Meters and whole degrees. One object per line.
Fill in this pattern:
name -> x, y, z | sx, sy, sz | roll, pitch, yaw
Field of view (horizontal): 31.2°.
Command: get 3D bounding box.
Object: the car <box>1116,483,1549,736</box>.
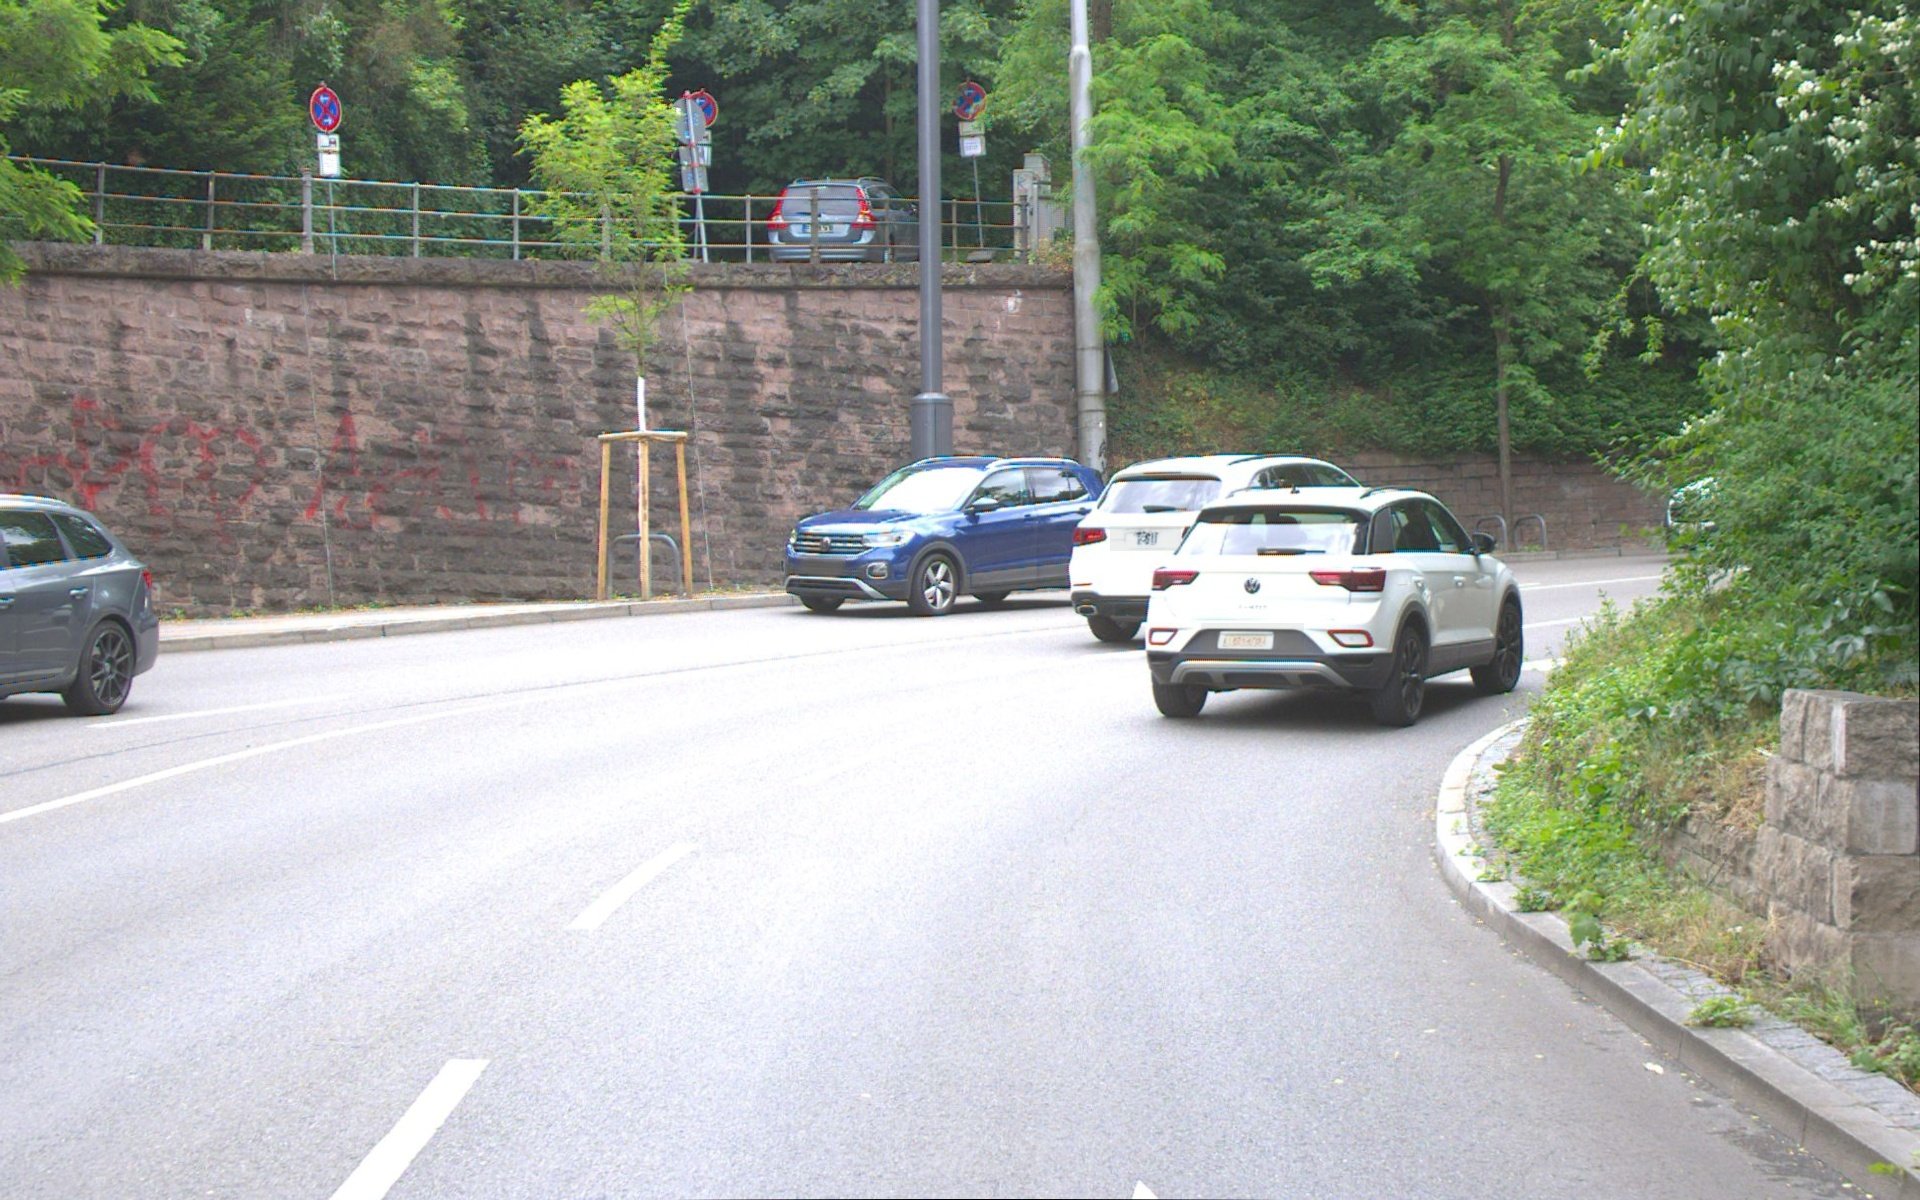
car -> 2.734, -0.020, 24.339 | 1.757, 1.547, 4.332 | 1, 3, 25

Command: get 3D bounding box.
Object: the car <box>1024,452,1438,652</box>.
car -> 2.568, -0.512, 31.486 | 1.862, 1.600, 4.663 | 3, 4, 31

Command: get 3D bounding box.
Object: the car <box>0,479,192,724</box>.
car -> -6.751, 0.004, 21.363 | 1.785, 1.461, 4.399 | 2, 3, 19

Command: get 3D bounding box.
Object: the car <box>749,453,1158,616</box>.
car -> -0.018, -0.727, 35.617 | 4.190, 1.522, 1.731 | -3, 4, -43

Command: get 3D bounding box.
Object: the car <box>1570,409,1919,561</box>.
car -> 10.192, -1.513, 44.040 | 4.655, 1.757, 1.828 | -3, 5, -32

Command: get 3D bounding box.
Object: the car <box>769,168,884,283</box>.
car -> -2.015, -5.698, 52.607 | 1.677, 1.375, 3.736 | 1, 0, -1
